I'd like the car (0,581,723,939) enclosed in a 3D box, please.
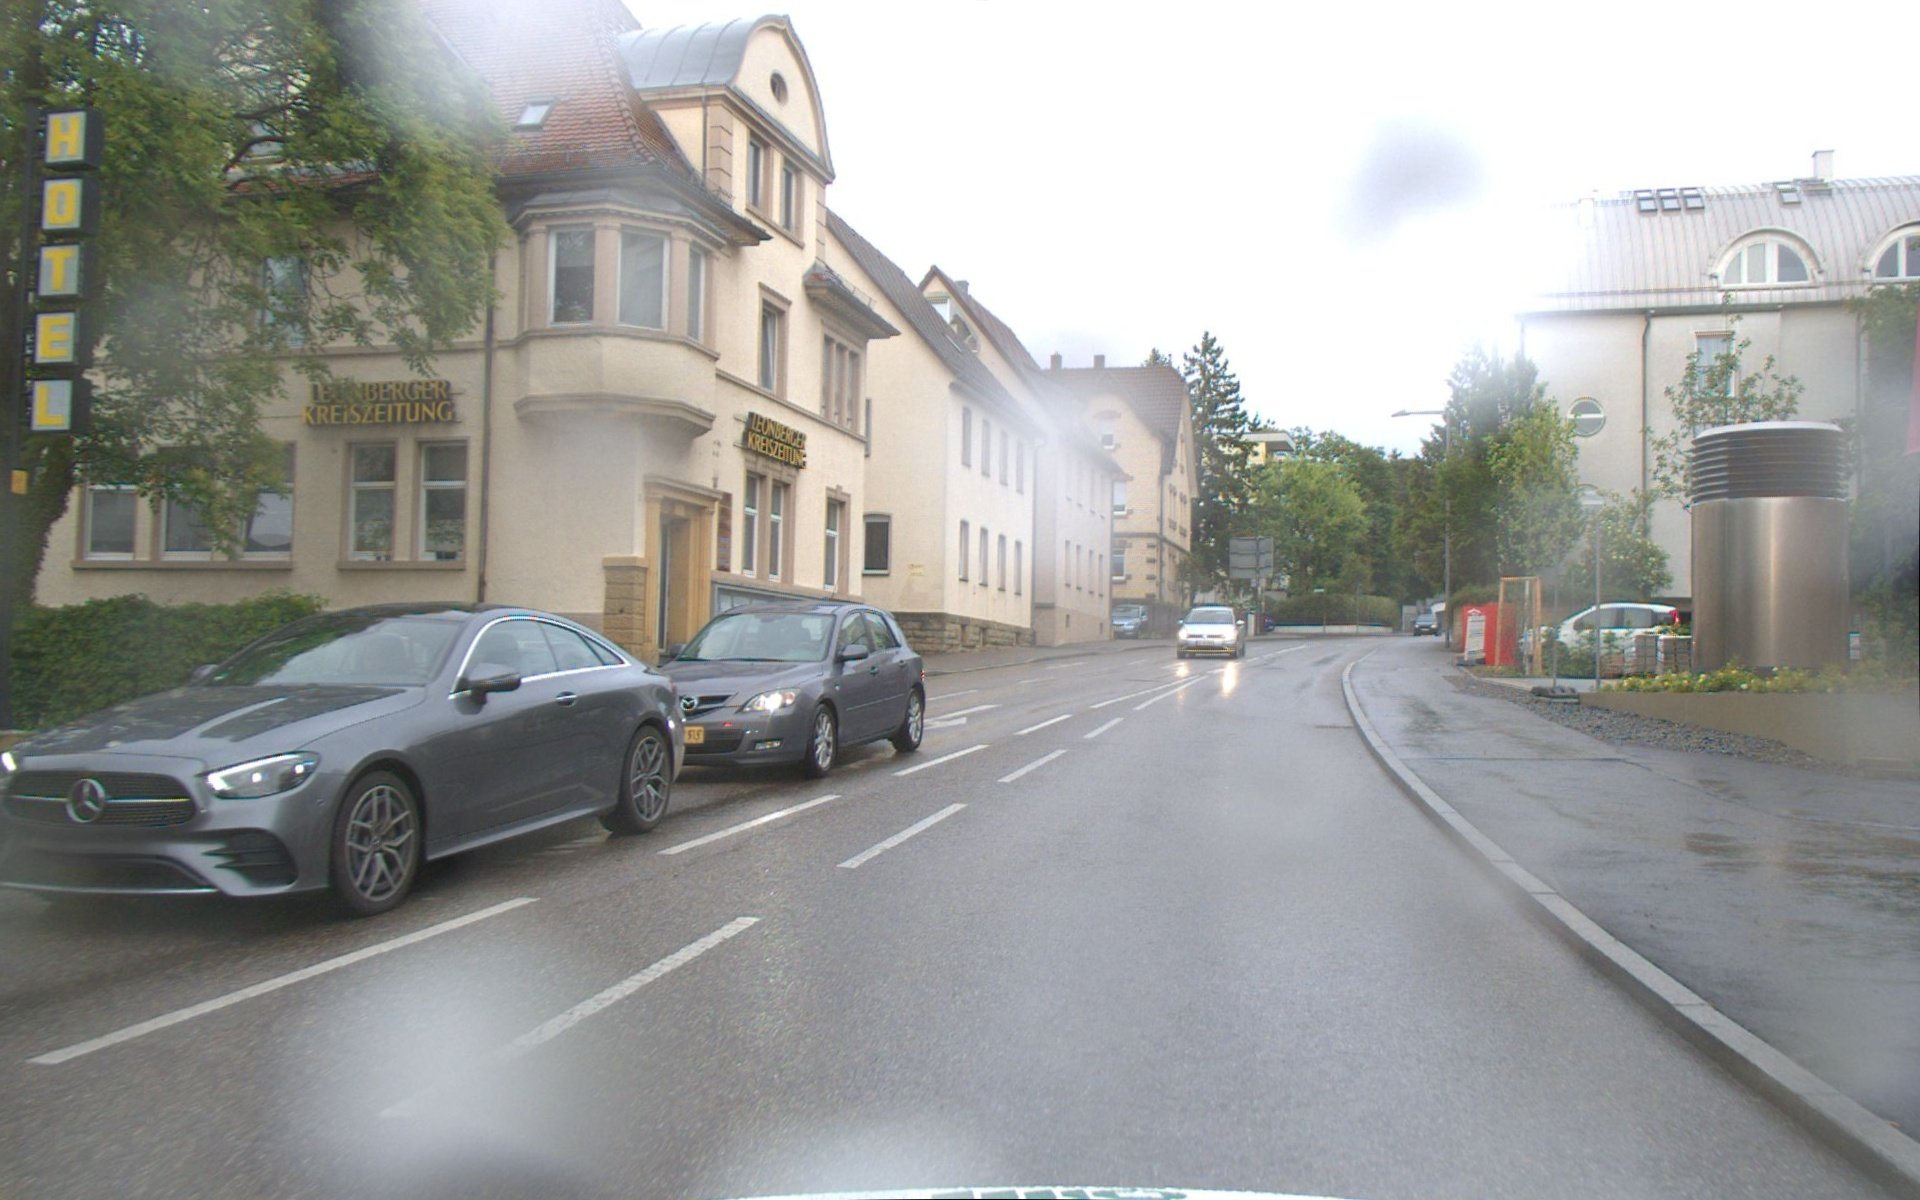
[{"bbox_3d":[-3.037,0.688,9.254,1.735,1.477,4.543,-1,-1,15],"label":"car"}]

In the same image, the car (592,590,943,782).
[{"bbox_3d":[-1.555,0.688,14.992,1.735,1.477,4.189,-1,-1,15],"label":"car"}]

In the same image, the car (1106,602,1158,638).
[{"bbox_3d":[7.583,0.866,72.874,1.655,1.479,3.234,2,0,17],"label":"car"}]

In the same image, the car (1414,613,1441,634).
[{"bbox_3d":[31.202,1.563,110.358,1.655,1.311,3.234,2,0,17],"label":"car"}]

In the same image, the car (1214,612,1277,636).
[{"bbox_3d":[17.329,1.449,100.392,3.610,1.311,1.697,2,0,13],"label":"car"}]

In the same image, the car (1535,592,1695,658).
[{"bbox_3d":[14.569,0.542,36.945,3.153,1.311,1.697,2,0,16],"label":"car"}]

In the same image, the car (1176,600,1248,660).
[{"bbox_3d":[7.375,0.861,48.173,1.594,1.626,3.234,2,0,17],"label":"car"}]
